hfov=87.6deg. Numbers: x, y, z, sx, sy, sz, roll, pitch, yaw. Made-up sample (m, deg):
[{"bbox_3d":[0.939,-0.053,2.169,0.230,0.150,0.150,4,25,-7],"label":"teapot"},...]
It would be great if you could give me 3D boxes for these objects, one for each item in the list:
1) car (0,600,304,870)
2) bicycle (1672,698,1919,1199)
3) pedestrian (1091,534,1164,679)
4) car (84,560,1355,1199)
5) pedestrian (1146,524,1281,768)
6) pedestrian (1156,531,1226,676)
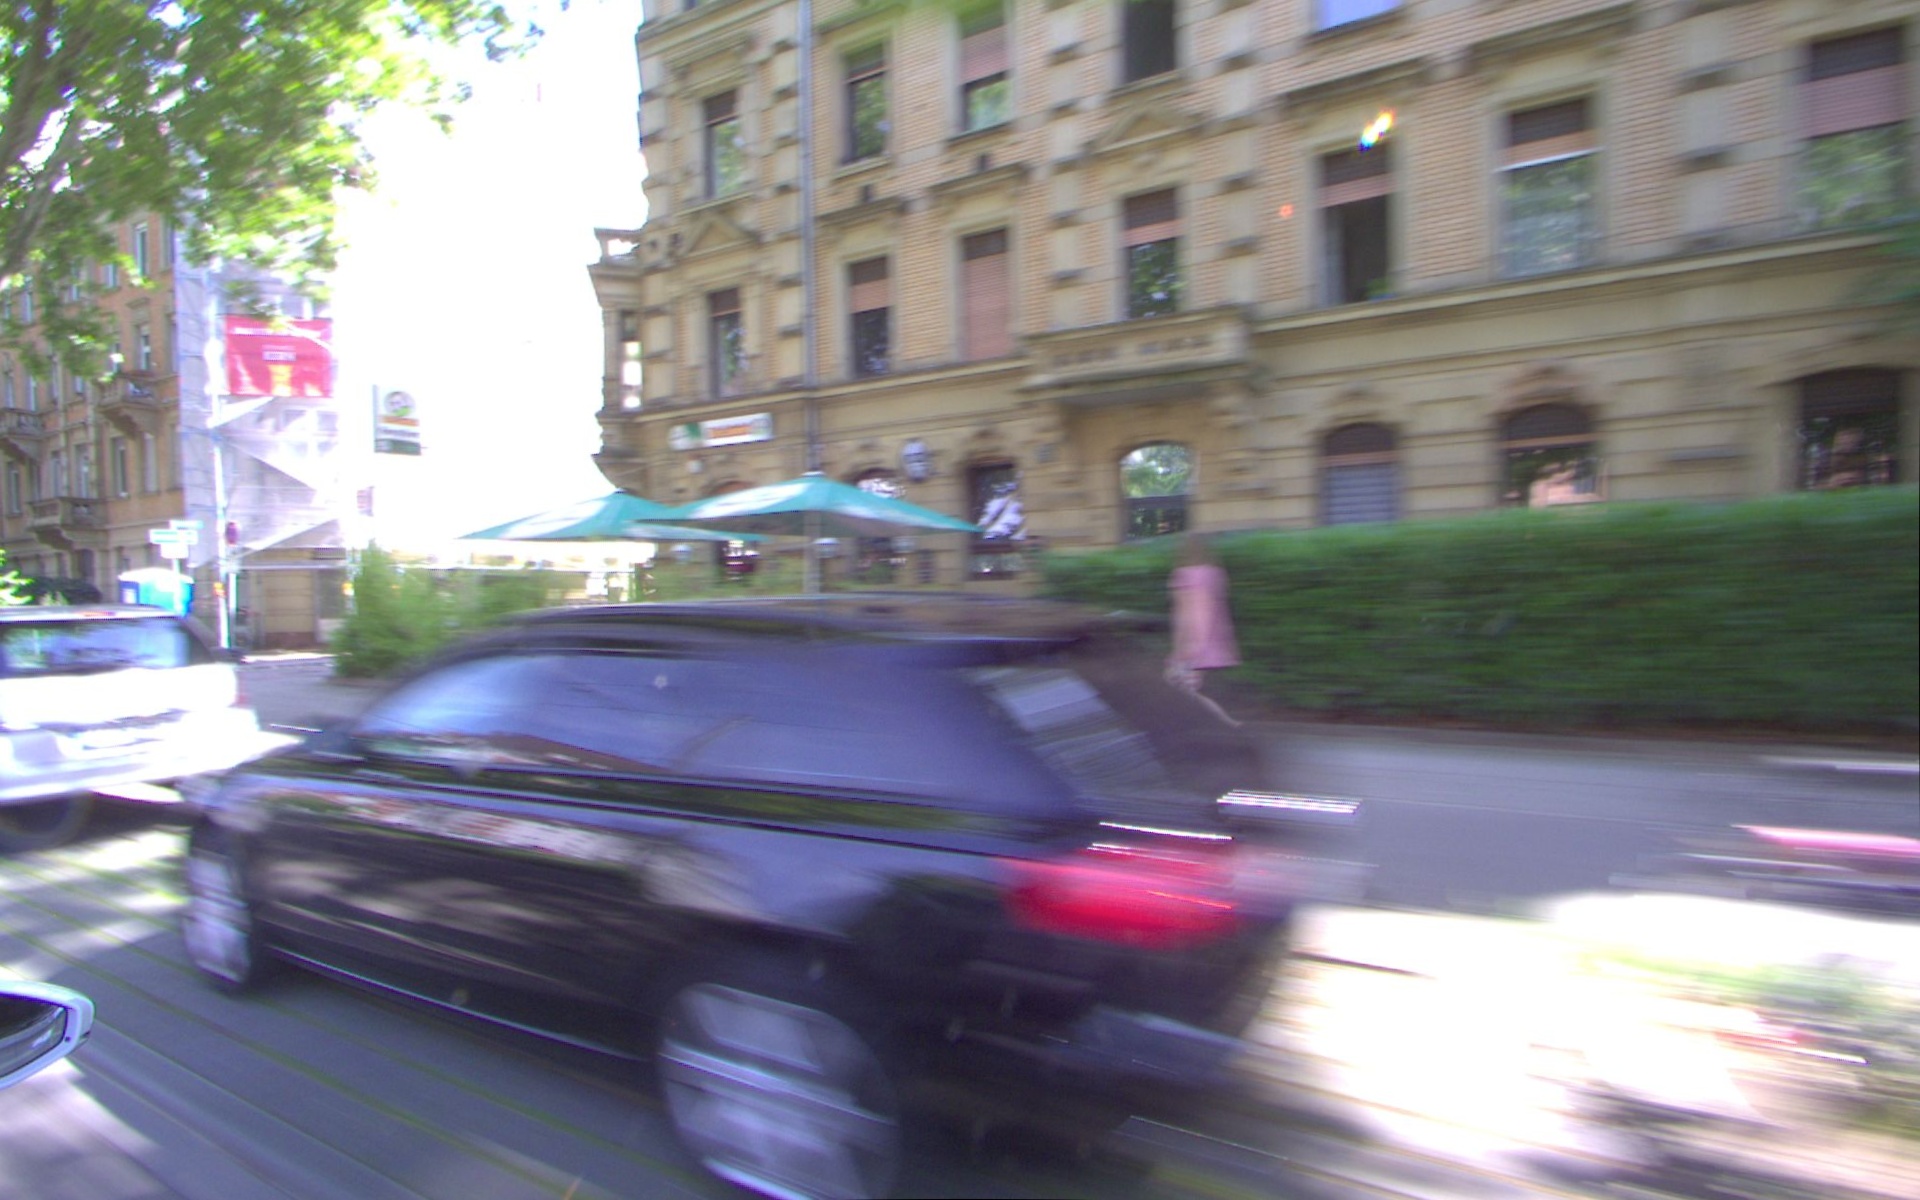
[{"bbox_3d":[-7.152,0.804,7.466,4.421,1.528,1.832,-1,1,27],"label":"car"},{"bbox_3d":[2.176,0.823,1.876,0.463,1.103,1.637,-1,1,-2],"label":"bicycle"},{"bbox_3d":[2.261,0.070,13.466,0.726,1.877,0.849,-1,3,26],"label":"pedestrian"},{"bbox_3d":[-1.129,0.707,3.678,4.575,1.528,1.830,-1,1,31],"label":"car"},{"bbox_3d":[2.017,0.333,7.920,0.839,1.810,0.734,0,3,30],"label":"pedestrian"},{"bbox_3d":[3.016,0.036,13.045,0.726,1.810,0.849,-1,3,23],"label":"pedestrian"}]
